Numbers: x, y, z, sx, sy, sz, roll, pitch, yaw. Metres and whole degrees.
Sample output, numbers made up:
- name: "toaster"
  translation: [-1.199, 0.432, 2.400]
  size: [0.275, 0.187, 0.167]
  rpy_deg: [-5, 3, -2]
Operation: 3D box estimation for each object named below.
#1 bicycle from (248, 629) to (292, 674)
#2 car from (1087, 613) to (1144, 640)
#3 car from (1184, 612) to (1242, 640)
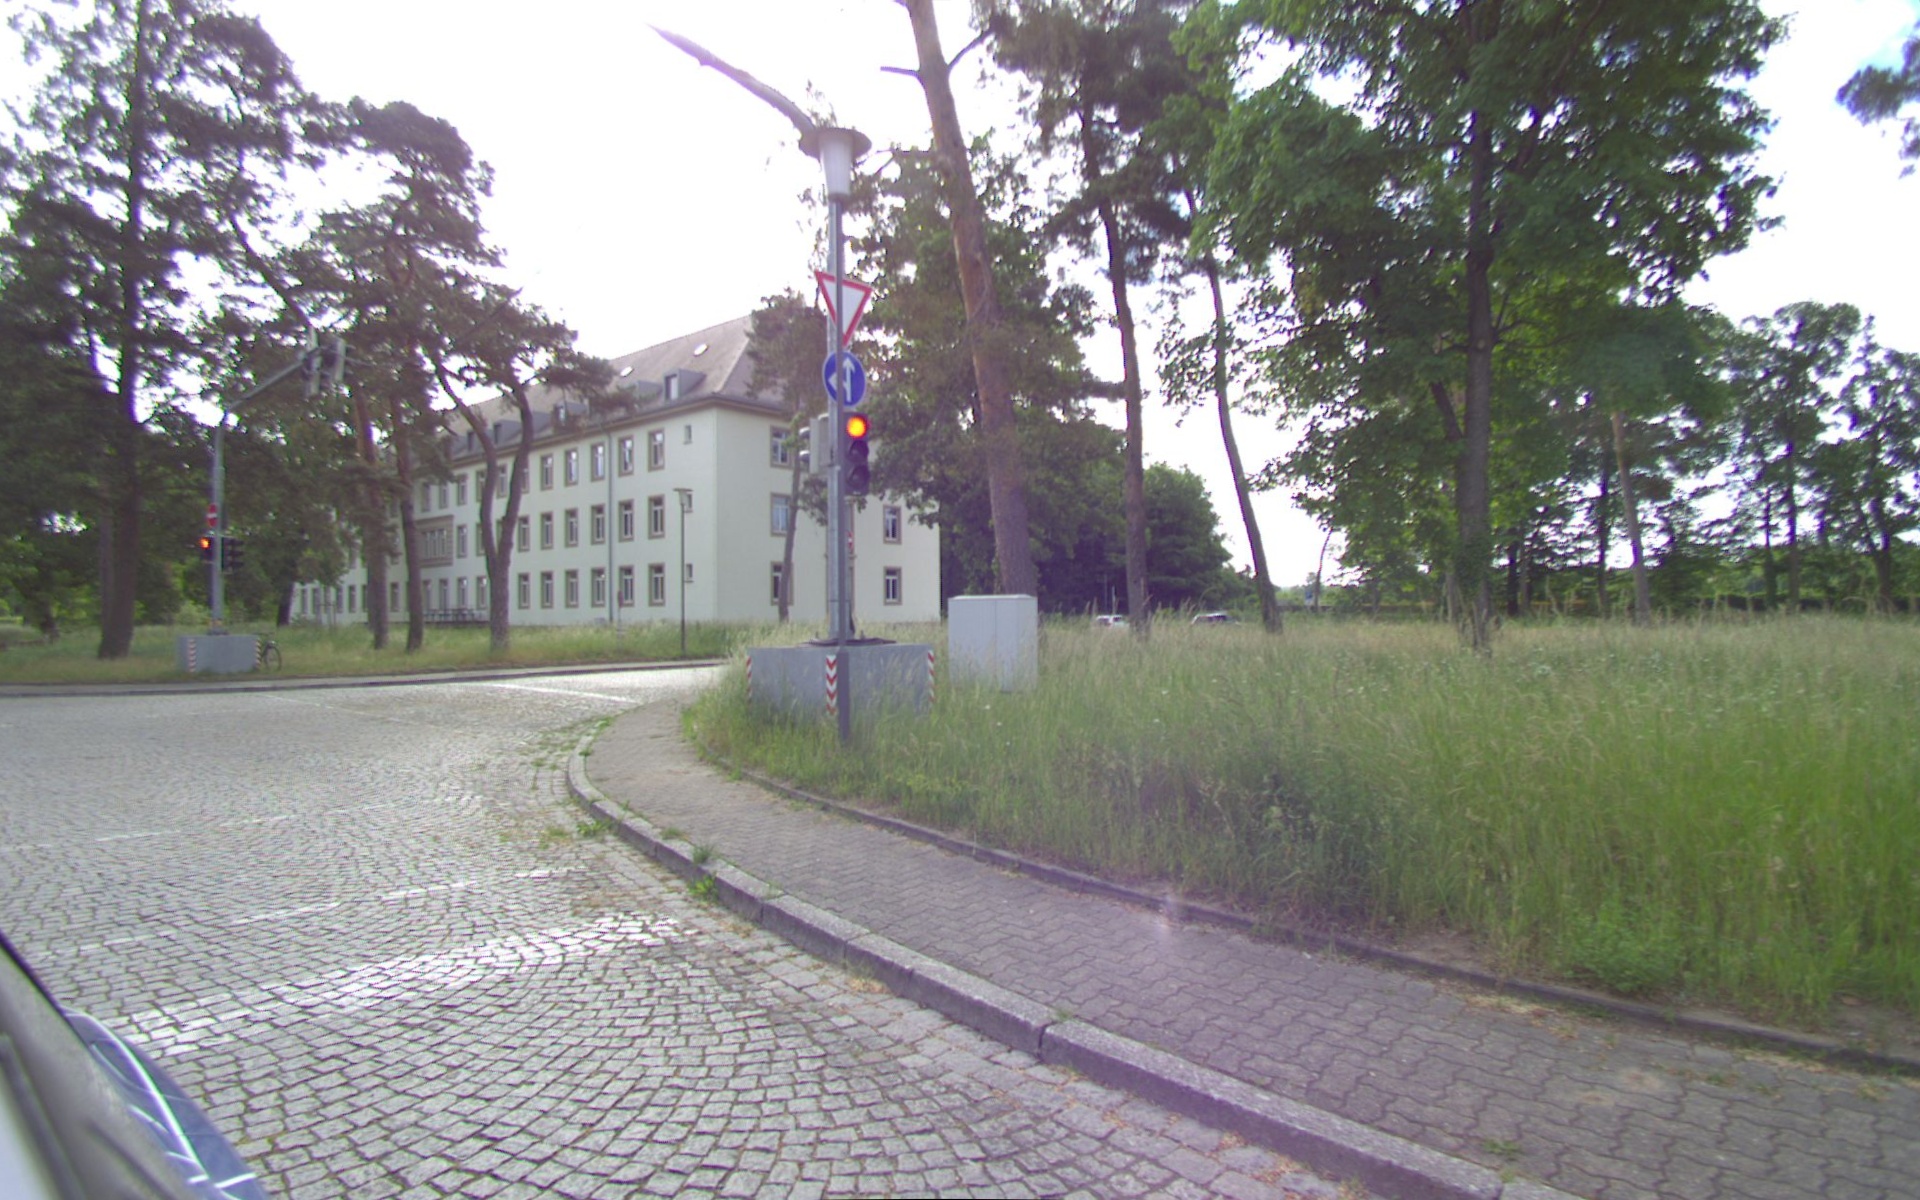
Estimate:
- name: "bicycle"
  translation: [-17.470, 1.284, 25.619]
  size: [1.414, 1.082, 0.491]
  rpy_deg: [-1, 2, 38]
- name: "car"
  translation: [10.359, 1.727, 67.282]
  size: [1.717, 1.622, 3.999]
  rpy_deg: [1, 0, 44]
- name: "car"
  translation: [15.504, 1.562, 61.908]
  size: [1.717, 1.622, 4.001]
  rpy_deg: [1, 0, 42]
